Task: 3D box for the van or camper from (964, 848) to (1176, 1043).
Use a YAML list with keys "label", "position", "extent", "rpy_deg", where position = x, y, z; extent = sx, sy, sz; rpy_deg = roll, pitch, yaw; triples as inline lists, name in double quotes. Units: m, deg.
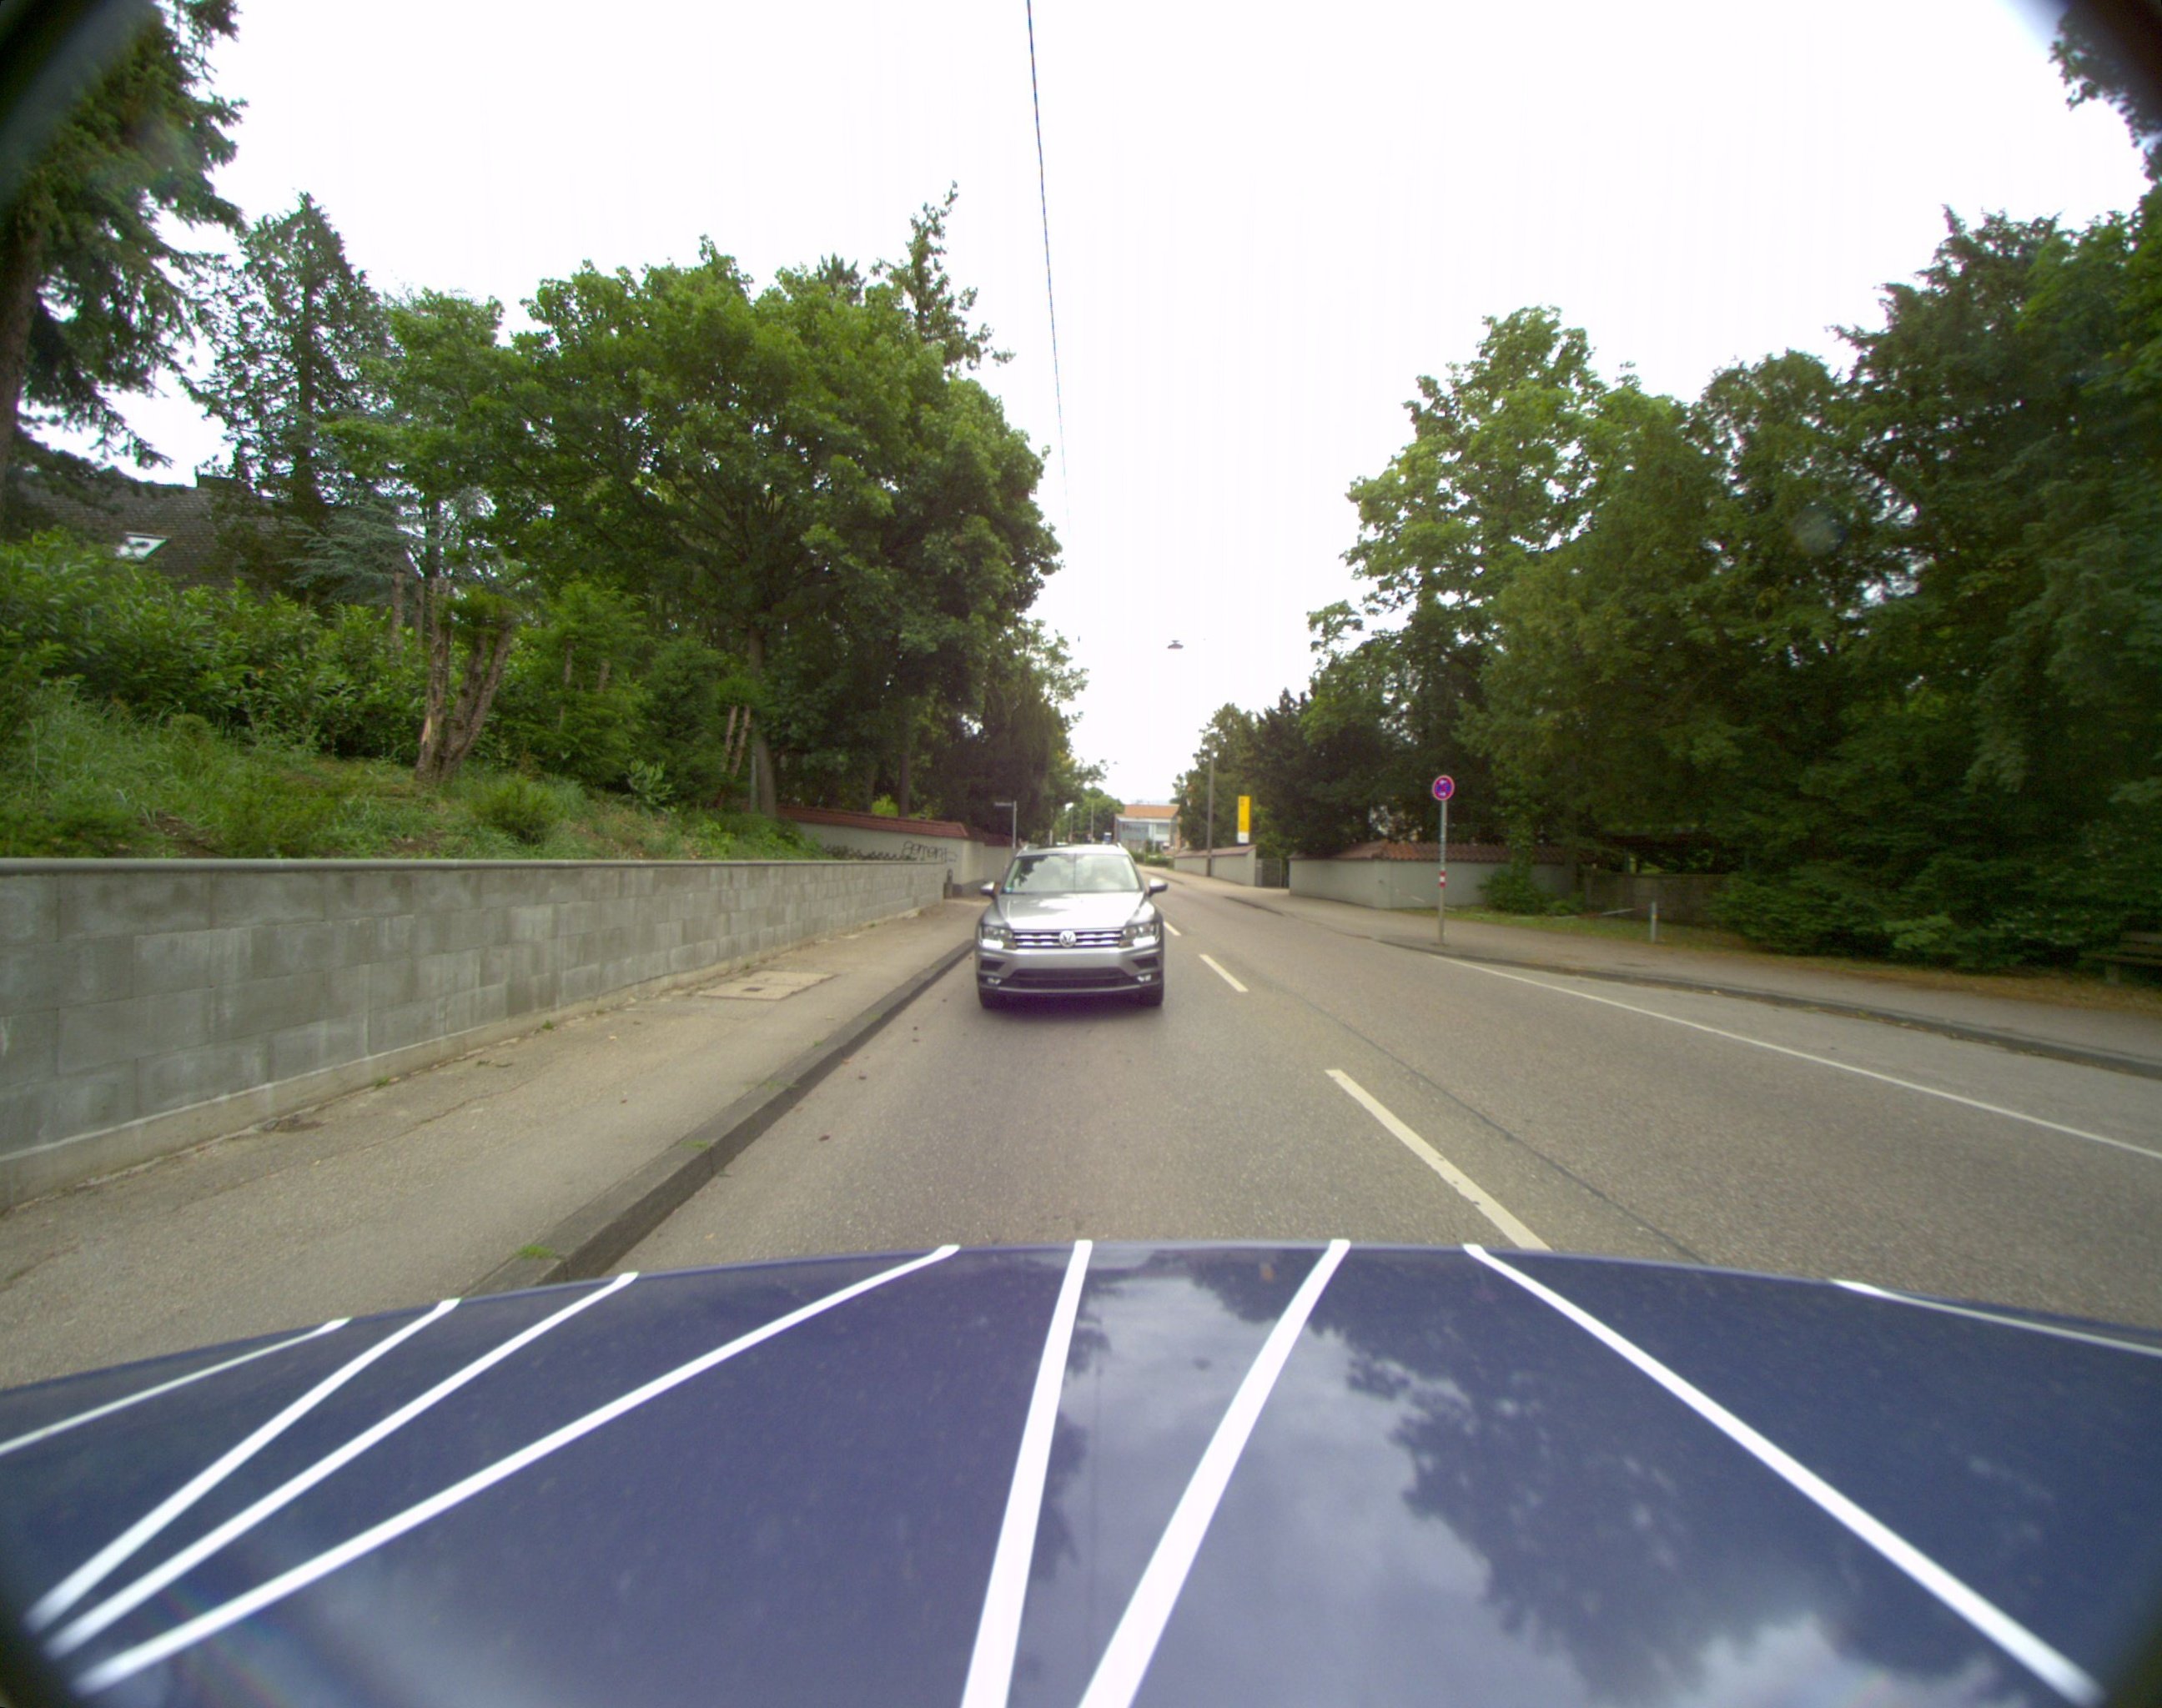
- label: "van or camper"
  position: [-0.067, 0.771, 8.586]
  extent: [1.800, 1.663, 4.198]
  rpy_deg: [0, 0, 1]
